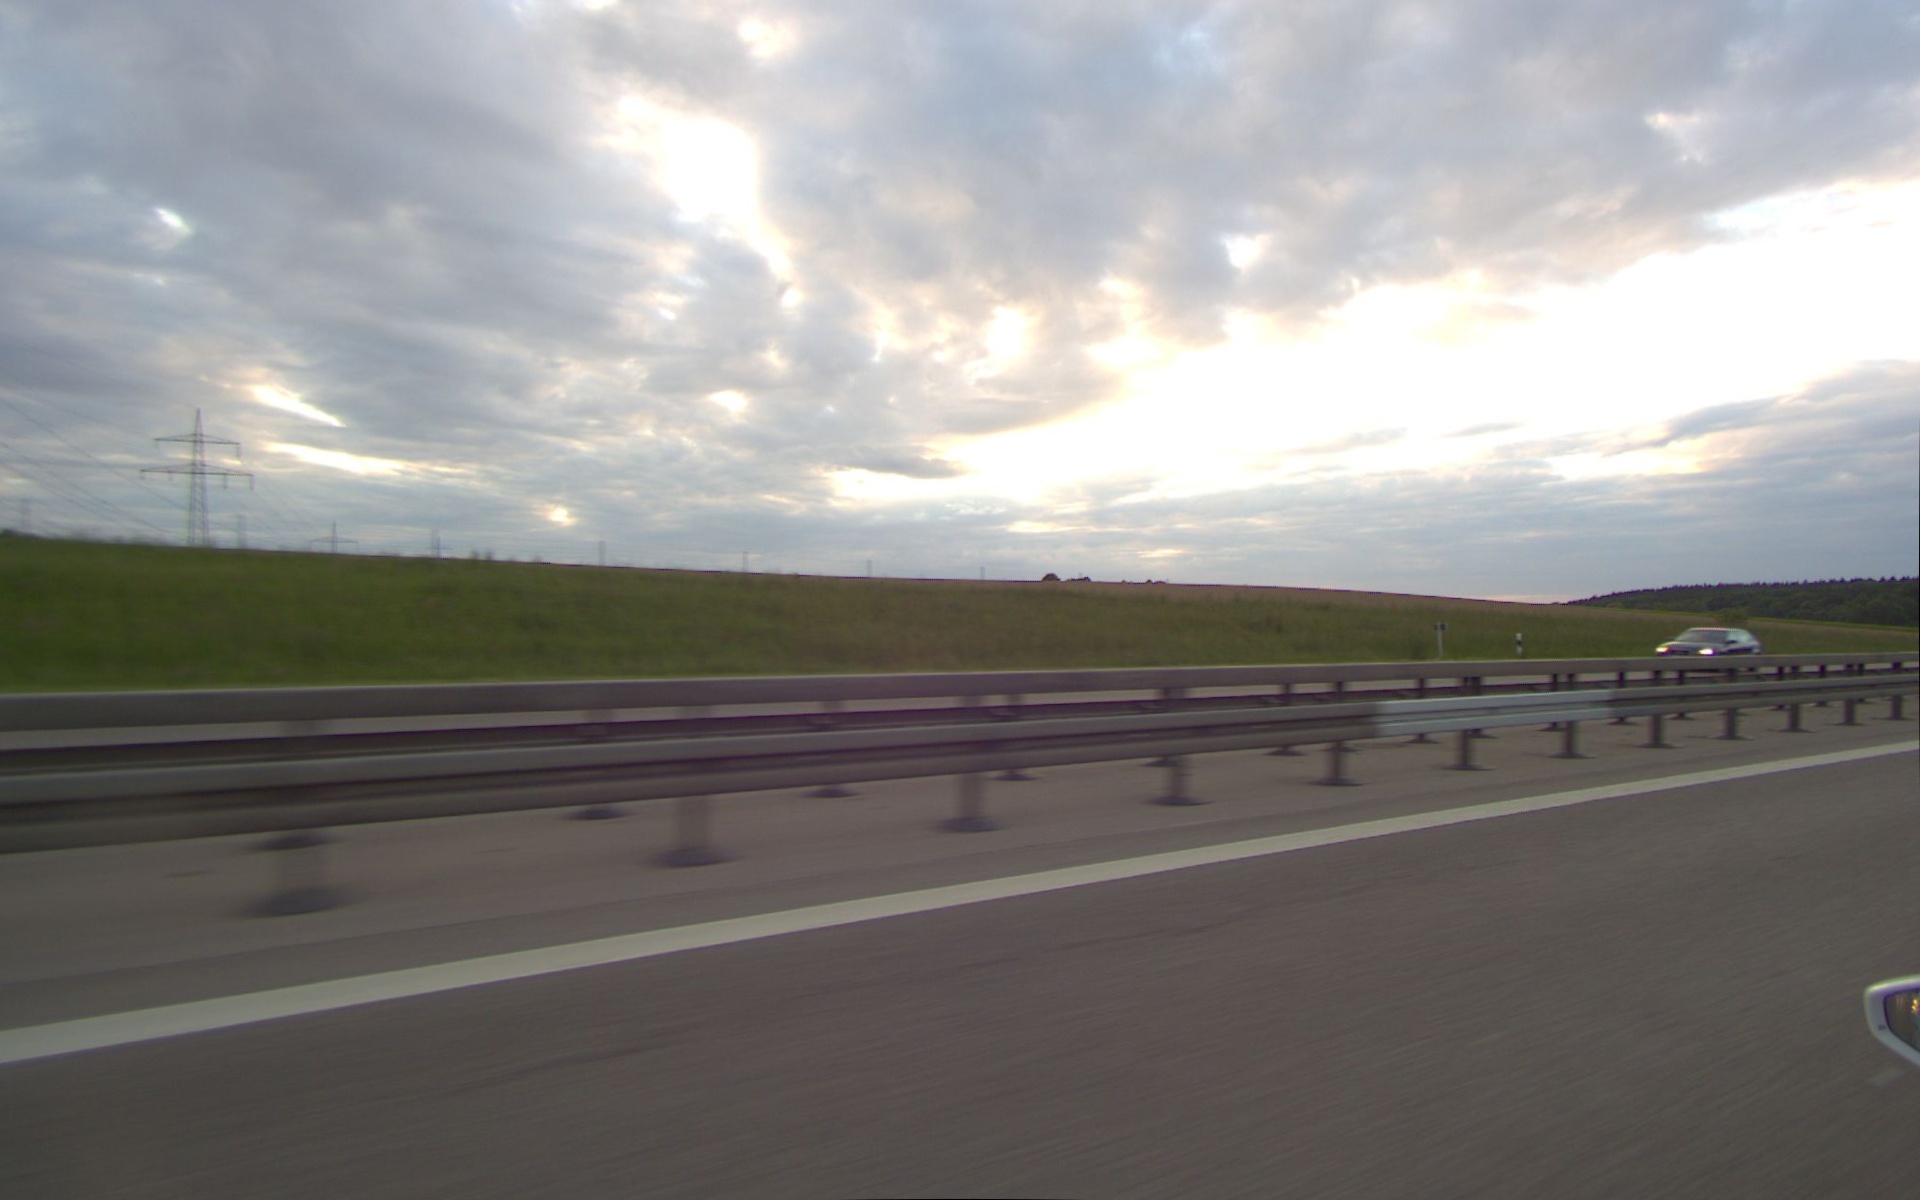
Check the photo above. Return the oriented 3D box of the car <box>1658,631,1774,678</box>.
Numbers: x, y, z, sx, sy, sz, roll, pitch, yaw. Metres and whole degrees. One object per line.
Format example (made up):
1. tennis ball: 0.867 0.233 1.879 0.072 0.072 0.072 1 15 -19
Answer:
1. car: 24.934 1.755 33.104 3.966 1.379 1.664 1 2 -32
